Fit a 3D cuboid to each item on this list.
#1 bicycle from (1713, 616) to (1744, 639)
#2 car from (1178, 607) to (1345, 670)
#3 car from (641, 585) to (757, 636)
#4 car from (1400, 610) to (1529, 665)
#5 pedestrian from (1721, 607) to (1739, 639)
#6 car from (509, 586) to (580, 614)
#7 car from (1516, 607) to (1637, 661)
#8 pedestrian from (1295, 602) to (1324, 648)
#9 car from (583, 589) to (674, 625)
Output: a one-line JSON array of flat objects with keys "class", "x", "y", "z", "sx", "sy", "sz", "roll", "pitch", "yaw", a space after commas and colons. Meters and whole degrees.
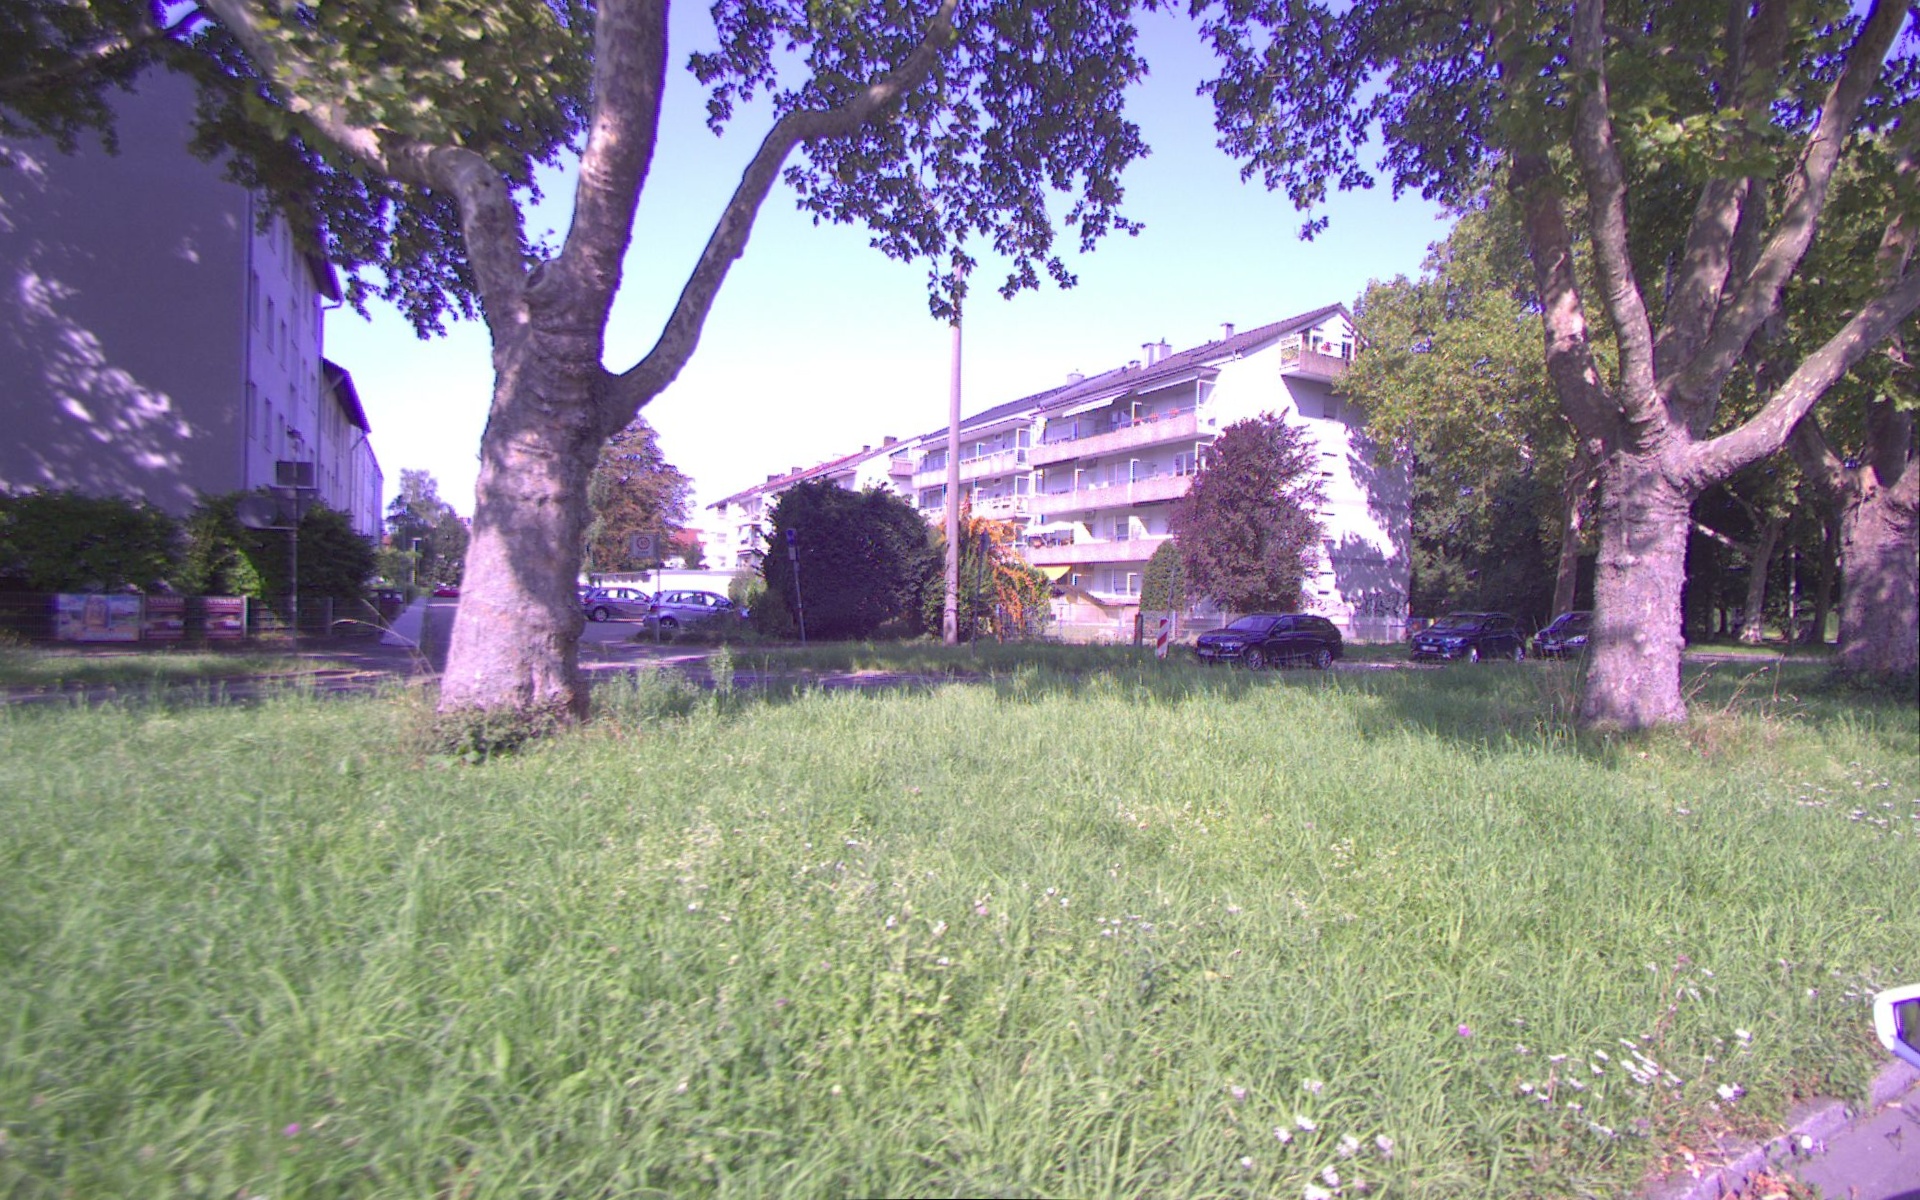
[{"class": "bicycle", "x": 42.038, "y": 1.525, "z": 54.934, "sx": 2.734, "sy": 1.215, "sz": 0.540, "roll": 2, "pitch": 0, "yaw": -35}, {"class": "car", "x": 8.075, "y": 1.022, "z": 26.768, "sx": 4.489, "sy": 1.528, "sz": 1.690, "roll": 2, "pitch": 0, "yaw": -31}, {"class": "car", "x": -9.189, "y": 0.362, "z": 35.359, "sx": 3.695, "sy": 1.648, "sz": 1.605, "roll": 2, "pitch": 0, "yaw": -24}, {"class": "car", "x": 15.630, "y": 1.158, "z": 31.079, "sx": 3.954, "sy": 1.588, "sz": 1.690, "roll": 2, "pitch": 0, "yaw": -31}, {"class": "pedestrian", "x": 42.156, "y": 1.280, "z": 55.006, "sx": 0.651, "sy": 1.713, "sz": 0.539, "roll": 2, "pitch": 0, "yaw": -34}, {"class": "car", "x": -23.800, "y": 0.009, "z": 57.517, "sx": 3.634, "sy": 1.458, "sz": 1.537, "roll": 2, "pitch": 0, "yaw": -27}, {"class": "car", "x": 21.788, "y": 1.205, "z": 35.468, "sx": 4.606, "sy": 1.755, "sz": 1.690, "roll": 2, "pitch": 0, "yaw": -31}, {"class": "pedestrian", "x": 12.783, "y": 0.916, "z": 36.702, "sx": 0.727, "sy": 1.667, "sz": 0.643, "roll": 2, "pitch": 0, "yaw": -32}, {"class": "car", "x": -14.700, "y": 0.310, "z": 44.518, "sx": 3.634, "sy": 1.458, "sz": 1.537, "roll": 2, "pitch": 0, "yaw": -27}]
